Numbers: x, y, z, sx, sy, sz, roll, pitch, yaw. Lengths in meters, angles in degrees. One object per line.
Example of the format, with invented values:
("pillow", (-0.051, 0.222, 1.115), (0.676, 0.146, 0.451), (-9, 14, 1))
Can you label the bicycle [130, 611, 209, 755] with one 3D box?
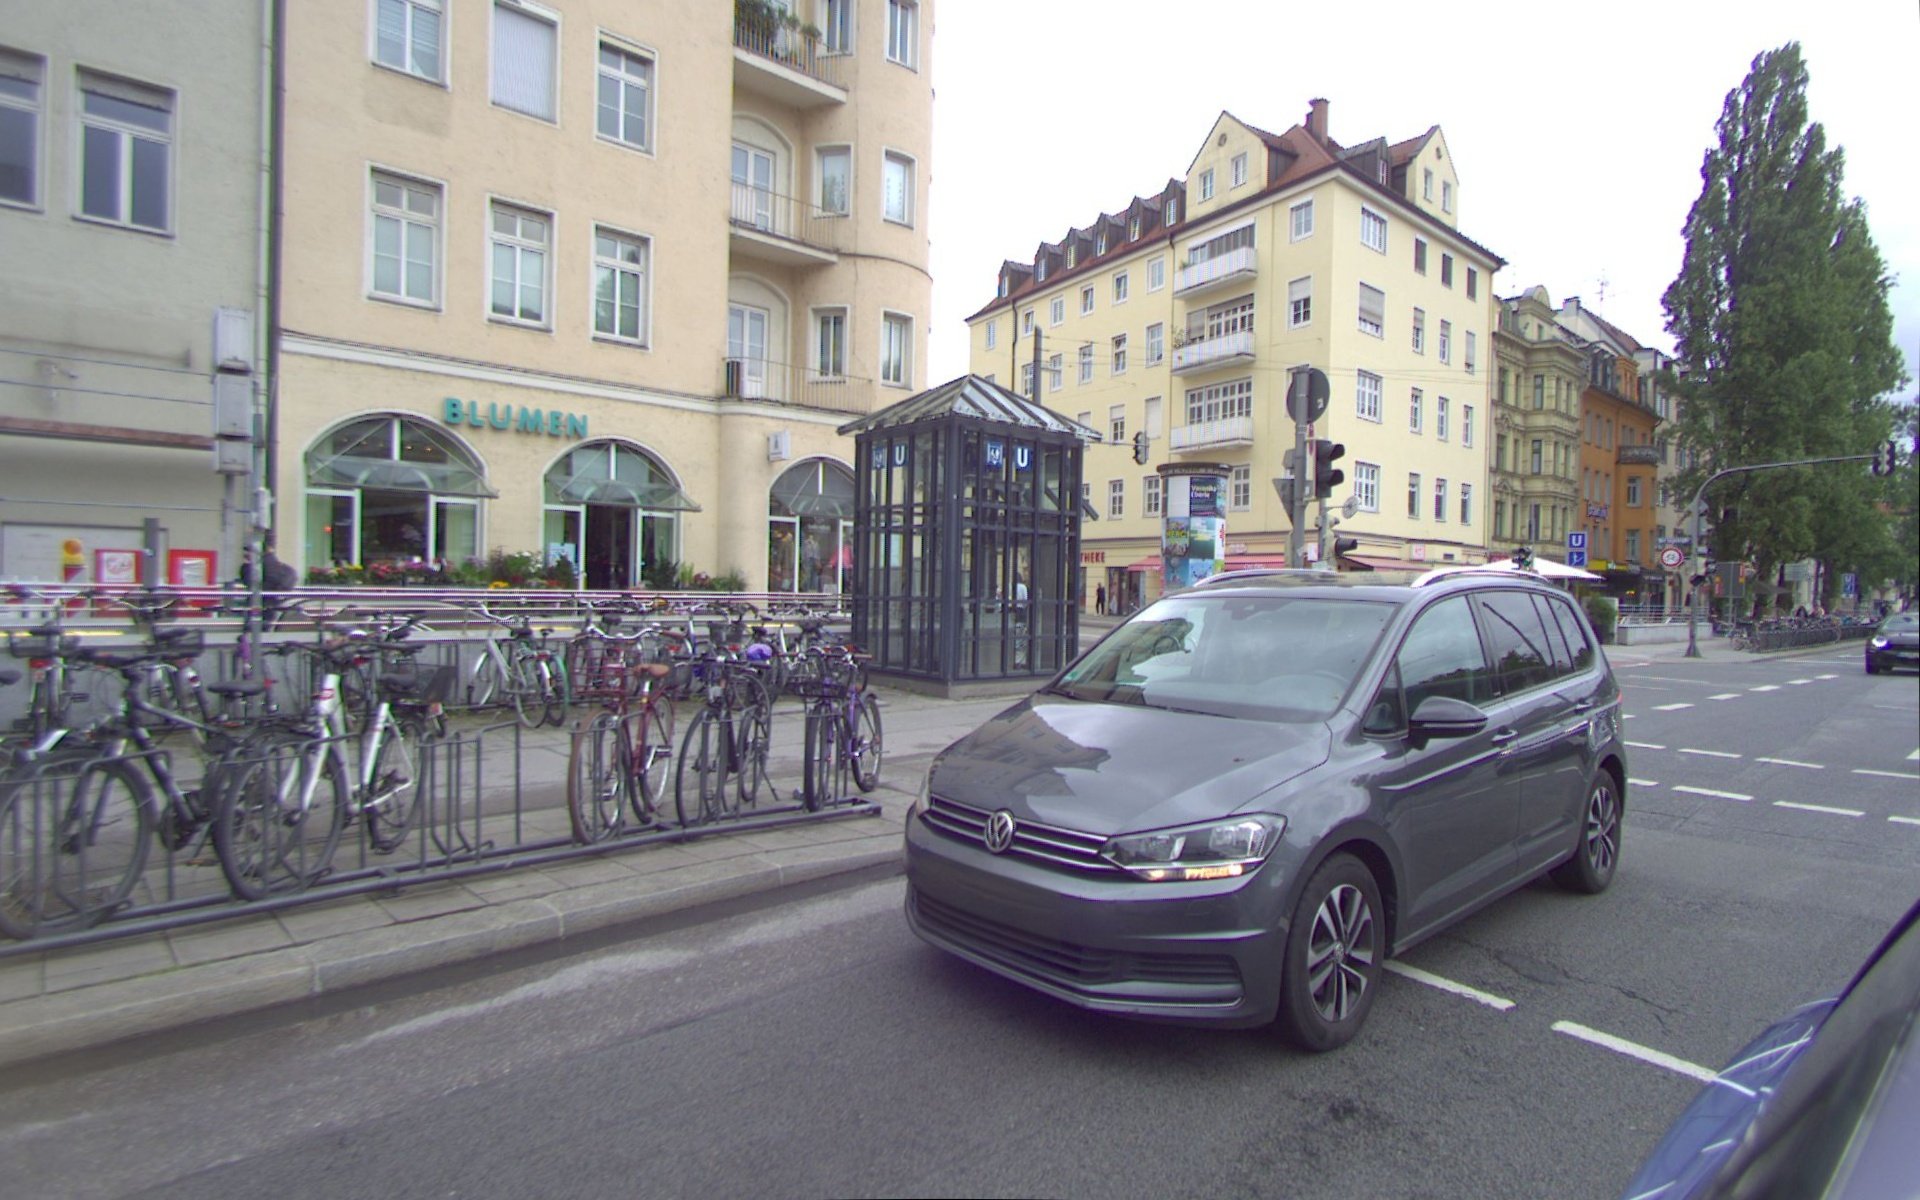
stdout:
("bicycle", (-6.385, 0.610, 8.143), (0.445, 0.976, 1.758), (1, 1, -39))

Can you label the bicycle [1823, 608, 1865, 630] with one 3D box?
("bicycle", (40.580, 0.860, 46.480), (0.319, 1.008, 1.841), (2, -1, 1))

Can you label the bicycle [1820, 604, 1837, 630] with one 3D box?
("bicycle", (45.702, 0.893, 53.250), (1.747, 1.304, 0.424), (0, 1, -40))

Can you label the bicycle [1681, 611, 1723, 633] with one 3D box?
("bicycle", (37.864, 1.113, 51.644), (0.379, 1.059, 1.730), (2, -1, -30))

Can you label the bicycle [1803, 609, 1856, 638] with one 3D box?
("bicycle", (37.206, 0.991, 43.314), (0.457, 1.126, 1.845), (2, 1, -9))

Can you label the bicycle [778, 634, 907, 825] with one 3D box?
("bicycle", (-0.739, 0.791, 6.785), (0.491, 1.041, 1.599), (1, 1, 7))

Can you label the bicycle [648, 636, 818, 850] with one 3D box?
("bicycle", (-1.320, 0.785, 6.170), (0.491, 1.041, 1.599), (1, 1, 7))

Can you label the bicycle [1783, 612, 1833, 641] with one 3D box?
("bicycle", (33.575, 1.036, 40.098), (0.341, 1.008, 1.843), (1, 2, -2))

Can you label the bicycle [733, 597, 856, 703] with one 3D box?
("bicycle", (-1.976, 0.547, 11.916), (0.500, 1.108, 1.841), (1, 1, -42))

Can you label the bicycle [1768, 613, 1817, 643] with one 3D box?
("bicycle", (31.048, 1.019, 37.763), (0.341, 1.008, 1.841), (1, 2, 2))

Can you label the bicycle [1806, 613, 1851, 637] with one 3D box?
("bicycle", (37.664, 1.066, 43.917), (0.319, 1.008, 1.842), (2, -1, -1))

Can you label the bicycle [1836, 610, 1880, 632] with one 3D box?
("bicycle", (42.851, 0.973, 48.318), (0.319, 1.008, 1.843), (2, -1, -4))

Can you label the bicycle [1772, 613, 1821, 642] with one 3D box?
("bicycle", (31.537, 1.022, 38.197), (0.341, 1.008, 1.841), (1, 2, 2))

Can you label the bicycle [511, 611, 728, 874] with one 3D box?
("bicycle", (-1.857, 0.698, 5.803), (0.549, 1.213, 1.804), (1, 1, 2))

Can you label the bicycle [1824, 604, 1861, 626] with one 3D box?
("bicycle", (41.293, 0.692, 47.374), (0.319, 1.008, 1.838), (1, -1, 6))

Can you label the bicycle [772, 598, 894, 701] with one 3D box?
("bicycle", (-1.573, 0.557, 12.301), (0.500, 1.108, 1.841), (1, 1, -42))

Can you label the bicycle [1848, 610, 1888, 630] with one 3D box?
("bicycle", (46.207, 1.020, 51.514), (0.368, 1.008, 1.841), (2, -1, 1))

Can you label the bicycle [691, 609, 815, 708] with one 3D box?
("bicycle", (-2.383, 0.624, 11.497), (0.500, 0.976, 1.841), (1, 1, -42))

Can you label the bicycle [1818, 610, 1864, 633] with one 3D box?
("bicycle", (39.053, 0.947, 44.879), (0.319, 1.008, 1.843), (2, -1, -4))

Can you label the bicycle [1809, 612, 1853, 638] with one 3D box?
("bicycle", (36.771, 1.057, 42.759), (0.319, 1.008, 1.841), (1, 1, 3))

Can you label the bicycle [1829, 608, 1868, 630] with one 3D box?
("bicycle", (40.976, 0.861, 46.685), (0.319, 1.008, 1.839), (1, -1, 5))

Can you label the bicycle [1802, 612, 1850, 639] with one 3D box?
("bicycle", (36.174, 1.054, 42.287), (0.341, 1.008, 1.843), (1, 2, -1))

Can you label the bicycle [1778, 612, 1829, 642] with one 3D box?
("bicycle", (32.542, 1.028, 39.067), (0.341, 1.008, 1.843), (1, 2, -2))

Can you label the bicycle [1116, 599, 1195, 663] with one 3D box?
("bicycle", (3.948, 0.609, 20.483), (0.515, 1.174, 1.573), (3, 0, -37))

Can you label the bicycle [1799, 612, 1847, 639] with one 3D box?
("bicycle", (35.670, 1.051, 41.872), (0.341, 1.008, 1.843), (1, 2, -1))

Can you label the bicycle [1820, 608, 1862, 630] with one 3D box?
("bicycle", (40.088, 0.857, 46.069), (0.319, 1.008, 1.841), (2, -1, 1))

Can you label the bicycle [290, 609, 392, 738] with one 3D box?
("bicycle", (-5.511, 0.602, 8.969), (0.445, 0.976, 1.757), (1, 1, -42))

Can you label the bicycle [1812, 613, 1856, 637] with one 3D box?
("bicycle", (38.161, 1.068, 44.206), (0.319, 1.008, 1.842), (2, -1, -1))

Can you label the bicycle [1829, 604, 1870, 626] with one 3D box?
("bicycle", (41.682, 0.692, 47.421), (0.319, 1.008, 1.841), (2, -1, 1))

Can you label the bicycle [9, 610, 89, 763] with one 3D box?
("bicycle", (-6.918, 0.601, 7.721), (0.362, 0.976, 1.758), (1, 1, -39))

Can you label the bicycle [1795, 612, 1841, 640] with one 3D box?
("bicycle", (34.663, 1.044, 40.922), (0.341, 1.008, 1.841), (1, 2, 2))

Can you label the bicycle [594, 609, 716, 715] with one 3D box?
("bicycle", (-3.287, 0.620, 10.812), (0.500, 0.976, 1.841), (1, 1, -42))

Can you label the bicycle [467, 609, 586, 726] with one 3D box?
("bicycle", (-4.287, 0.614, 9.929), (0.500, 0.976, 1.841), (1, 1, -42))

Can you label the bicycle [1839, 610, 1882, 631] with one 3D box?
("bicycle", (43.840, 0.980, 49.297), (0.368, 1.008, 1.843), (2, -1, -4))

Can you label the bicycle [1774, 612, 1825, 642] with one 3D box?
("bicycle", (32.039, 1.025, 38.649), (0.341, 1.008, 1.843), (1, 2, -2))

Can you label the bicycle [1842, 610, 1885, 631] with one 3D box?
("bicycle", (44.822, 0.987, 50.240), (0.368, 1.008, 1.843), (2, -1, -4))

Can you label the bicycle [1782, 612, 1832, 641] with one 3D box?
("bicycle", (33.044, 1.031, 39.497), (0.341, 1.008, 1.843), (1, 2, -2))

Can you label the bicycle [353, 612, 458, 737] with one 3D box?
("bicycle", (-5.091, 0.630, 9.240), (0.445, 0.976, 1.757), (1, 1, -42))

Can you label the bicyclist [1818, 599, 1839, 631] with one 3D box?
("bicyclist", (45.696, 0.779, 53.226), (0.923, 1.623, 0.681), (1, 1, -41))

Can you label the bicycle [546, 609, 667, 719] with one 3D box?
("bicycle", (-3.697, 0.618, 10.487), (0.500, 0.976, 1.841), (1, 1, -42))

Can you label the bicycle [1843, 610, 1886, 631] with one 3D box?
("bicycle", (44.426, 0.983, 49.741), (0.368, 1.008, 1.843), (2, -1, -4))

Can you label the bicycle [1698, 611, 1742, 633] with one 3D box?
("bicycle", (37.829, 1.099, 50.384), (1.722, 1.059, 0.381), (1, -1, 44))

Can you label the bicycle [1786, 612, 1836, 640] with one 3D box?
("bicycle", (34.055, 1.039, 40.527), (0.341, 1.008, 1.843), (1, 2, -2))

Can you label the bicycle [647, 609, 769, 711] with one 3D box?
("bicycle", (-2.819, 0.623, 11.203), (0.500, 0.976, 1.841), (1, 1, -42))

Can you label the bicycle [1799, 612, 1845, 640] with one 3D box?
("bicycle", (35.208, 1.047, 41.369), (0.341, 1.008, 1.841), (1, 2, 2))

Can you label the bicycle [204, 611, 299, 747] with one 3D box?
("bicycle", (-6.032, 0.614, 8.577), (0.445, 0.976, 1.757), (1, 1, -42))

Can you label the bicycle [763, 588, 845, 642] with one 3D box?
("bicycle", (-3.379, 0.313, 22.011), (0.494, 1.103, 1.837), (2, 1, 43))
